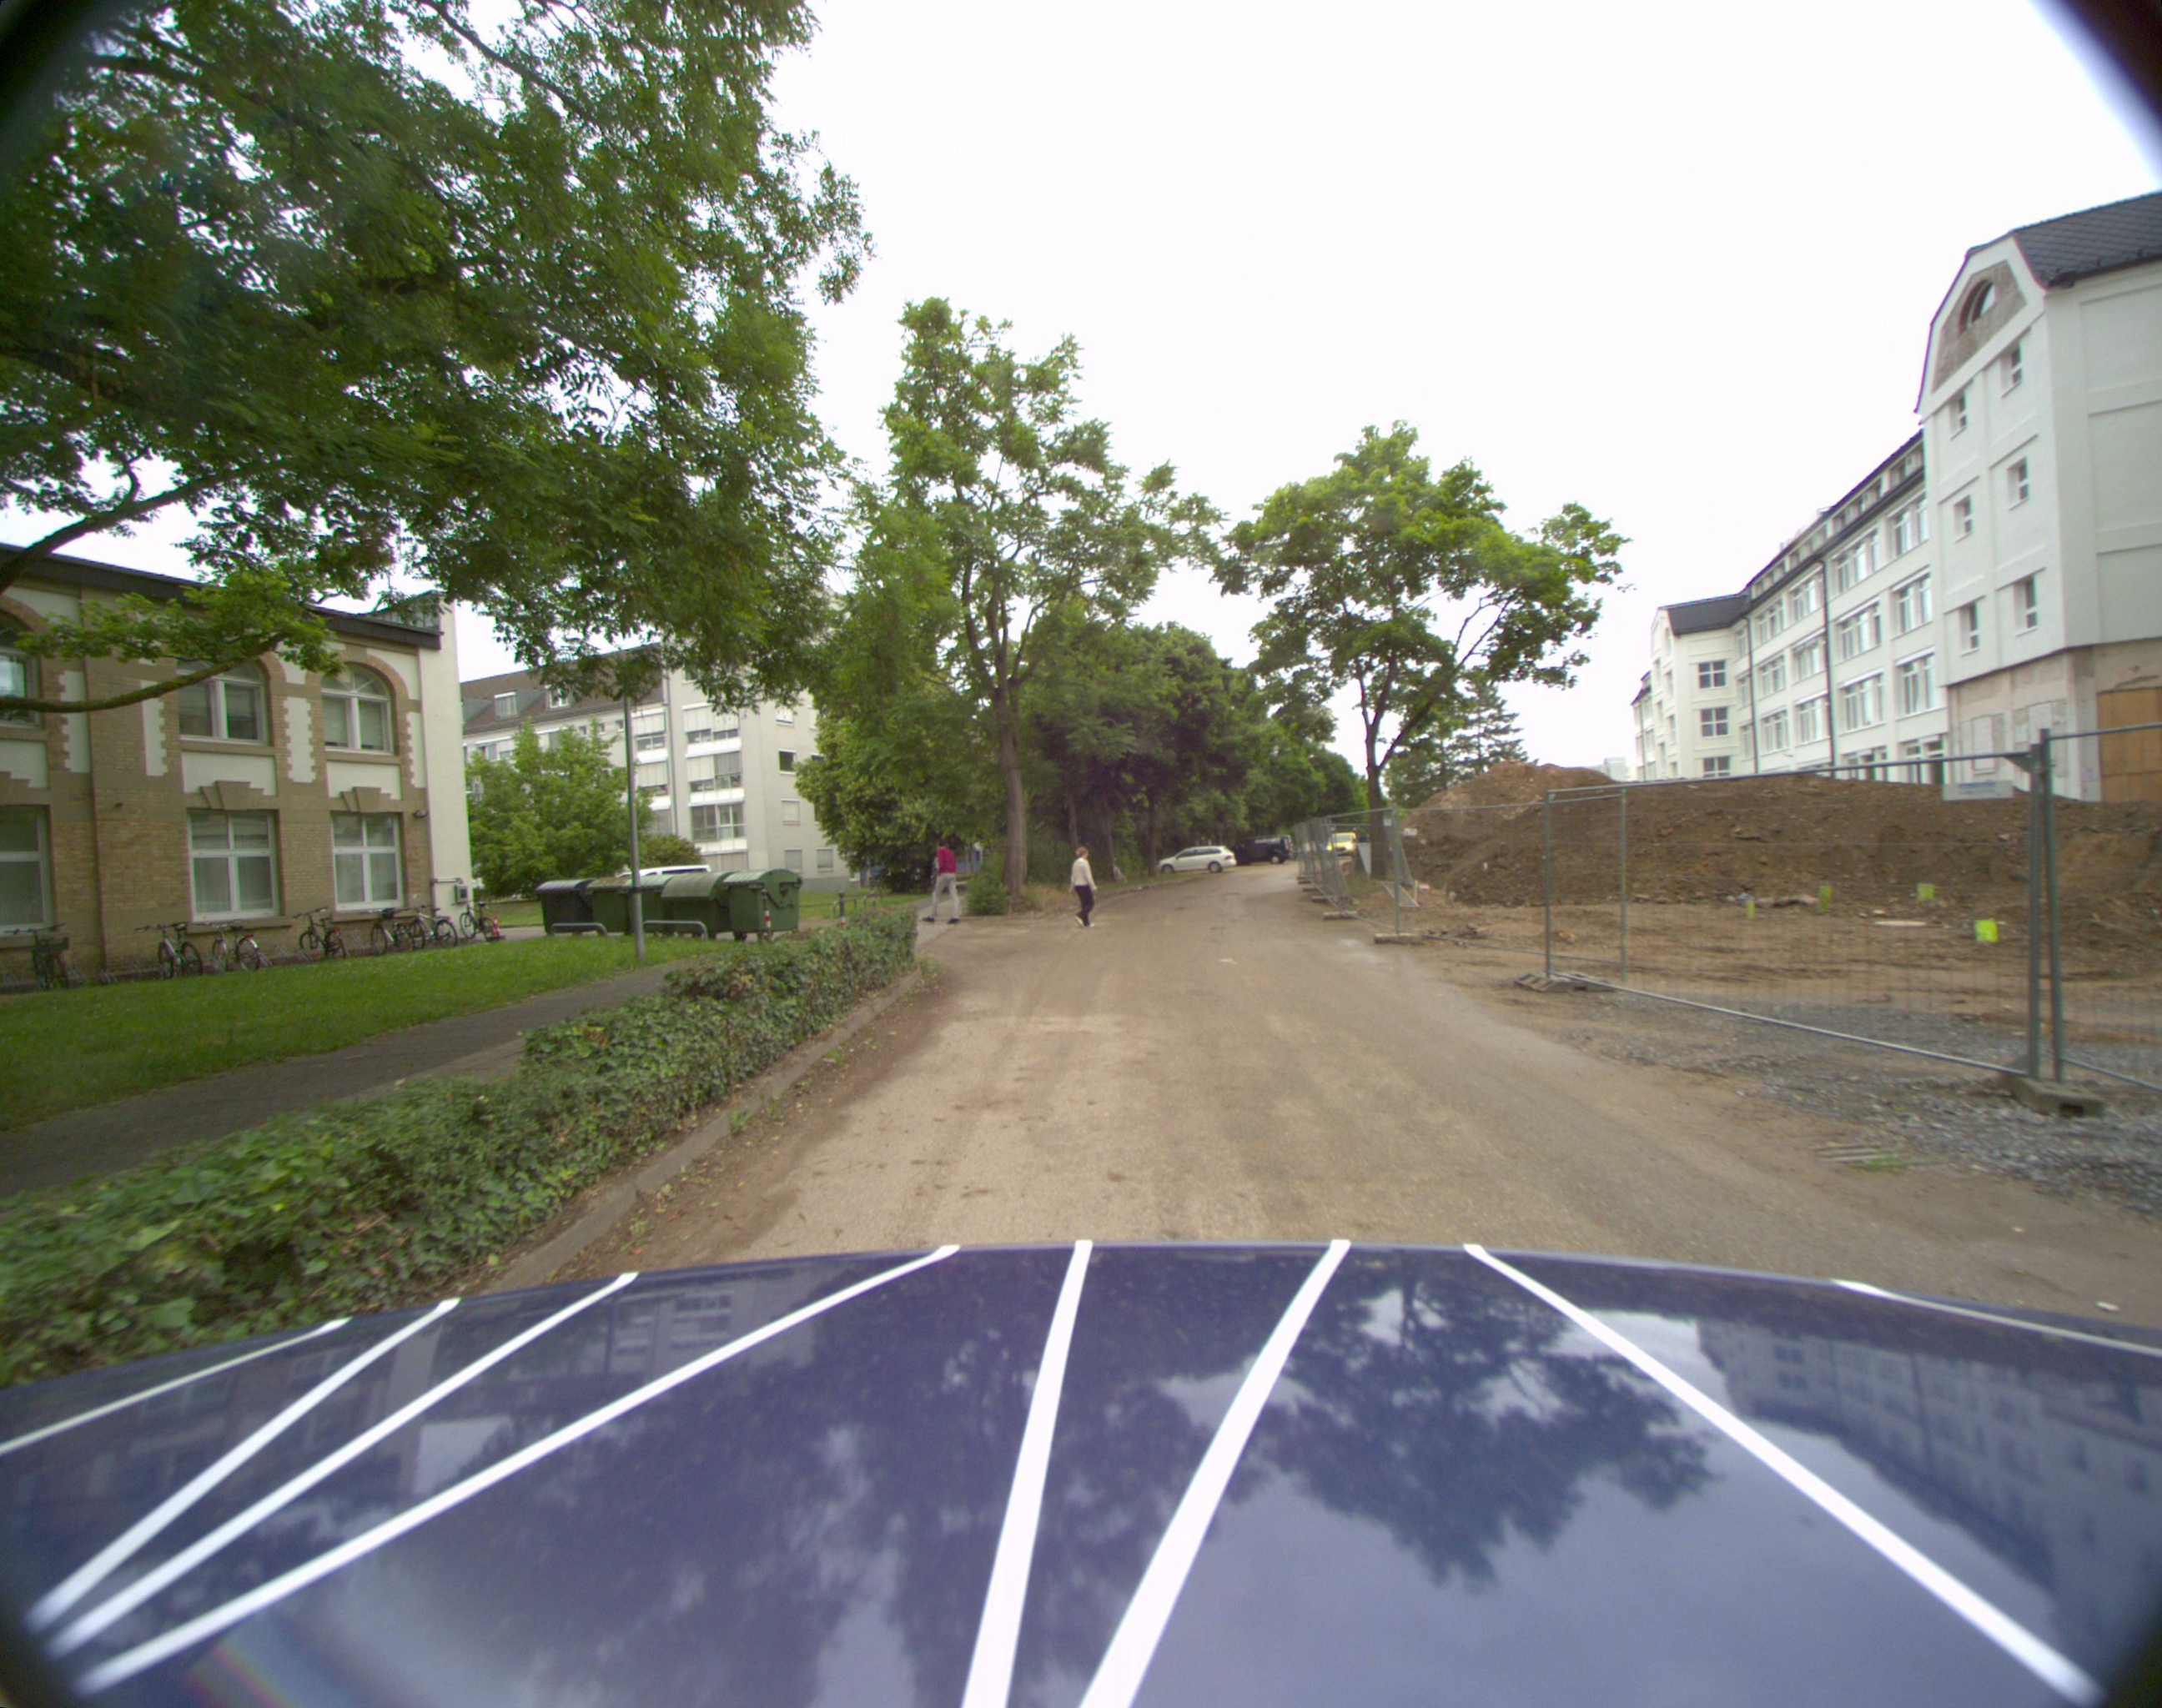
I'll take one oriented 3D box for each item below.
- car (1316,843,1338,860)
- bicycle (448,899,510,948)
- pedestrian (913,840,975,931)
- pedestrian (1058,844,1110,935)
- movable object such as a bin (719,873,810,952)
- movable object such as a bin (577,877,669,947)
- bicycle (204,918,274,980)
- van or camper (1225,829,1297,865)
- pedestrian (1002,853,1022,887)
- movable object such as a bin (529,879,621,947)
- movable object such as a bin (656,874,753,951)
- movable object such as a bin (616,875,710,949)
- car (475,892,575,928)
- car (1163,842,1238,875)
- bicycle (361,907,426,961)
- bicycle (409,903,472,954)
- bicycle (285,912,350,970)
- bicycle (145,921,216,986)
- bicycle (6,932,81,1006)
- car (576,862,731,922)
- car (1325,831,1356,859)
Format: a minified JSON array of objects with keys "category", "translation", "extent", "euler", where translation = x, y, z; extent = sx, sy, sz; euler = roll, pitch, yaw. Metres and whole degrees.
[{"category":"car","translation":[25.172,-0.240,77.805],"extent":[1.996,1.587,4.005],"euler":[-3,0,19]},{"category":"bicycle","translation":[-14.507,1.680,18.300],"extent":[1.740,1.108,0.461],"euler":[-3,1,28]},{"category":"pedestrian","translation":[-3.191,0.711,17.735],"extent":[0.793,2.052,1.203],"euler":[-2,1,23]},{"category":"pedestrian","translation":[0.056,0.708,15.476],"extent":[0.752,1.771,0.662],"euler":[-4,1,-24]},{"category":"movable object such as a bin","translation":[-6.244,1.123,15.012],"extent":[1.272,1.426,1.074],"euler":[-2,1,36]},{"category":"movable object such as a bin","translation":[-10.213,1.282,16.975],"extent":[1.324,1.442,1.110],"euler":[-3,1,21]},{"category":"bicycle","translation":[-16.312,1.815,14.706],"extent":[1.740,1.108,0.461],"euler":[-3,1,29]},{"category":"van or camper","translation":[12.662,-0.482,53.580],"extent":[4.490,2.245,2.003],"euler":[-3,1,27]},{"category":"pedestrian","translation":[-3.562,0.825,39.055],"extent":[0.680,1.739,0.622],"euler":[-3,1,31]},{"category":"movable object such as a bin","translation":[-11.642,1.351,17.501],"extent":[1.360,1.442,1.110],"euler":[-3,1,21]},{"category":"movable object such as a bin","translation":[-7.673,1.181,15.511],"extent":[1.283,1.442,1.110],"euler":[-3,1,22]},{"category":"movable object such as a bin","translation":[-8.960,1.232,16.306],"extent":[1.292,1.442,1.110],"euler":[-3,1,22]},{"category":"car","translation":[-33.041,3.306,45.327],"extent":[1.996,1.724,4.347],"euler":[-3,0,21]},{"category":"car","translation":[6.676,0.239,42.428],"extent":[3.879,1.565,1.754],"euler":[-3,1,15]},{"category":"bicycle","translation":[-15.241,1.755,16.829],"extent":[1.740,1.108,0.461],"euler":[-3,1,29]},{"category":"bicycle","translation":[-14.839,1.716,17.581],"extent":[1.740,1.108,0.461],"euler":[-3,1,29]},{"category":"bicycle","translation":[-15.695,1.766,15.608],"extent":[1.740,1.108,0.461],"euler":[-3,1,30]},{"category":"bicycle","translation":[-16.665,1.818,14.057],"extent":[1.740,1.108,0.461],"euler":[-3,1,29]},{"category":"bicycle","translation":[-17.255,1.883,12.628],"extent":[1.740,1.108,0.461],"euler":[-2,1,29]},{"category":"car","translation":[-16.272,1.399,29.237],"extent":[1.897,1.862,4.781],"euler":[-5,-1,28]},{"category":"car","translation":[19.941,-0.684,58.320],"extent":[2.121,2.002,4.005],"euler":[-3,0,20]}]
